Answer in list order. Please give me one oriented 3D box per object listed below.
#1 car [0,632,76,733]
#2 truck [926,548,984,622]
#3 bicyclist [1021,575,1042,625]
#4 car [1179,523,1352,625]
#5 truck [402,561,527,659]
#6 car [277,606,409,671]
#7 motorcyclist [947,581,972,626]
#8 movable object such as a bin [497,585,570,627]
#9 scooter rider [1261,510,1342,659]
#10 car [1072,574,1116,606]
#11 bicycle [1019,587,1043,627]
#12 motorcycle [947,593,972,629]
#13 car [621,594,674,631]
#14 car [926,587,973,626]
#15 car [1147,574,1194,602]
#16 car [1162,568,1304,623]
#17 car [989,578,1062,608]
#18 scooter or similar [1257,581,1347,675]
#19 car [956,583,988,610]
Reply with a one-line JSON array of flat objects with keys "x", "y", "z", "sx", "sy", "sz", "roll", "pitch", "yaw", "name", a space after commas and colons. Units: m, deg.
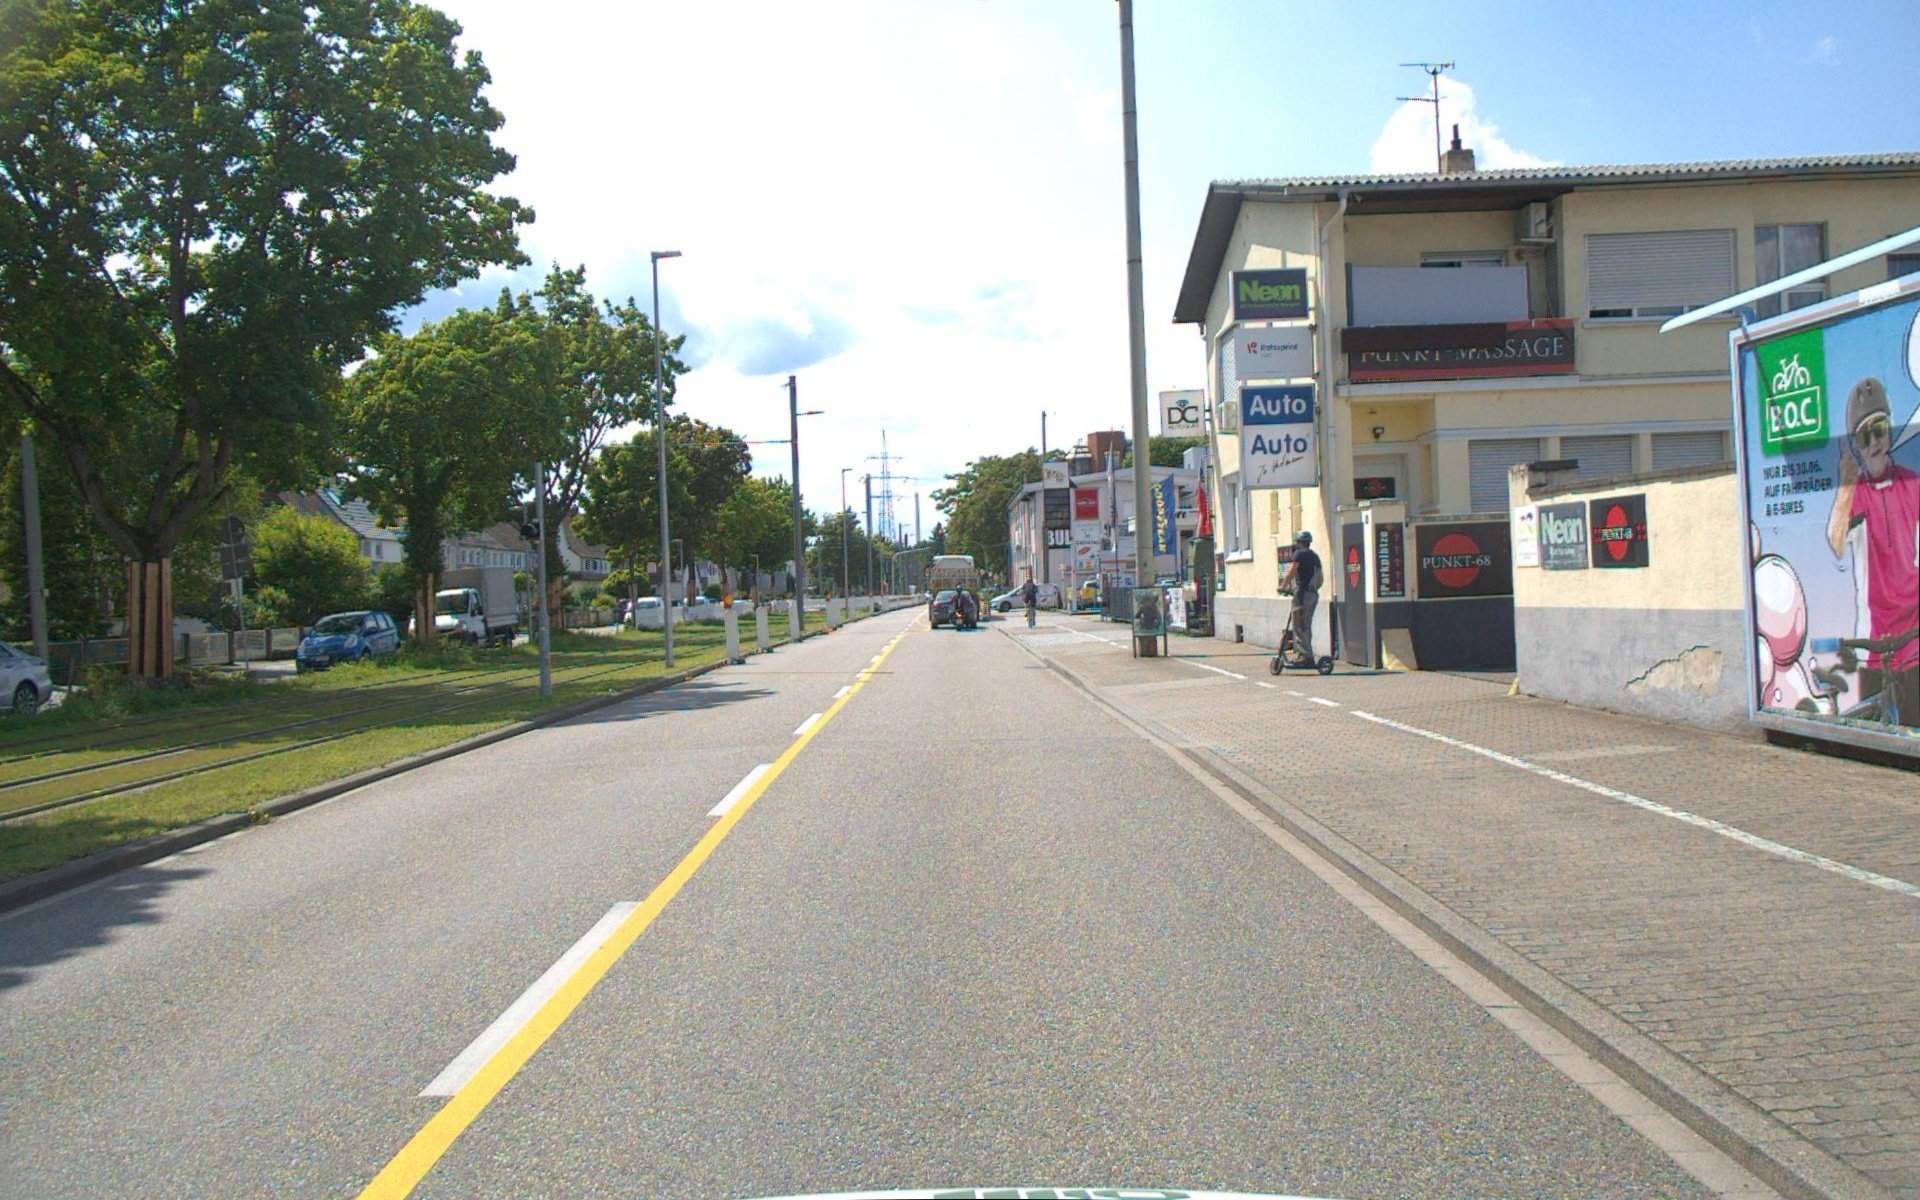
[{"x": -15.624, "y": 1.339, "z": 25.035, "sx": 1.768, "sy": 1.508, "sz": 4.939, "roll": -3, "pitch": 0, "yaw": 0, "name": "car"}, {"x": -0.216, "y": -0.837, "z": 82.402, "sx": 2.557, "sy": 3.312, "sz": 9.183, "roll": -3, "pitch": 1, "yaw": 0, "name": "truck"}, {"x": 2.582, "y": -0.005, "z": 59.834, "sx": 0.657, "sy": 1.774, "sz": 0.813, "roll": -2, "pitch": 0, "yaw": -1, "name": "bicyclist"}, {"x": 8.637, "y": -0.721, "z": 47.087, "sx": 4.443, "sy": 2.618, "sz": 2.151, "roll": -3, "pitch": 0, "yaw": 1, "name": "car"}, {"x": -15.923, "y": 0.263, "z": 53.538, "sx": 1.954, "sy": 2.815, "sz": 6.276, "roll": -5, "pitch": 1, "yaw": 0, "name": "truck"}, {"x": -15.806, "y": 0.962, "z": 42.568, "sx": 1.954, "sy": 1.478, "sz": 3.998, "roll": -3, "pitch": 0, "yaw": -2, "name": "car"}, {"x": -0.013, "y": 0.138, "z": 61.696, "sx": 0.920, "sy": 1.643, "sz": 1.205, "roll": 0, "pitch": 0, "yaw": 0, "name": "motorcyclist"}, {"x": -27.522, "y": 0.365, "z": 106.797, "sx": 4.277, "sy": 2.492, "sz": 1.777, "roll": -3, "pitch": 0, "yaw": -23, "name": "movable object such as a bin"}, {"x": 4.767, "y": -0.208, "z": 23.149, "sx": 0.705, "sy": 1.997, "sz": 0.782, "roll": -4, "pitch": 0, "yaw": -15, "name": "scooter rider"}, {"x": 7.521, "y": -0.554, "z": 93.209, "sx": 1.920, "sy": 1.677, "sz": 3.998, "roll": -3, "pitch": 0, "yaw": -2, "name": "car"}, {"x": 2.570, "y": 0.224, "z": 59.817, "sx": 0.679, "sy": 1.385, "sz": 2.418, "roll": -3, "pitch": 0, "yaw": -1, "name": "bicycle"}, {"x": -0.016, "y": 0.401, "z": 61.877, "sx": 0.920, "sy": 1.343, "sz": 2.645, "roll": 0, "pitch": 0, "yaw": 0, "name": "motorcycle"}, {"x": -16.463, "y": 0.649, "z": 87.346, "sx": 1.953, "sy": 1.780, "sz": 3.999, "roll": -3, "pitch": 0, "yaw": 0, "name": "car"}, {"x": -0.405, "y": 0.222, "z": 66.155, "sx": 1.784, "sy": 1.449, "sz": 4.000, "roll": -2, "pitch": 0, "yaw": 0, "name": "car"}, {"x": 11.936, "y": -0.677, "z": 93.965, "sx": 1.920, "sy": 1.445, "sz": 3.998, "roll": -3, "pitch": 0, "yaw": -2, "name": "car"}, {"x": 8.212, "y": -0.133, "z": 50.040, "sx": 4.095, "sy": 1.456, "sz": 1.822, "roll": -3, "pitch": 0, "yaw": 6, "name": "car"}, {"x": 4.113, "y": -0.430, "z": 103.875, "sx": 4.250, "sy": 1.578, "sz": 1.946, "roll": -3, "pitch": 0, "yaw": -9, "name": "car"}, {"x": 4.728, "y": 0.386, "z": 22.971, "sx": 0.531, "sy": 1.215, "sz": 1.605, "roll": -4, "pitch": 0, "yaw": -13, "name": "scooter or similar"}, {"x": 0.689, "y": -0.207, "z": 95.553, "sx": 1.784, "sy": 1.489, "sz": 4.000, "roll": -2, "pitch": 0, "yaw": 0, "name": "car"}]
